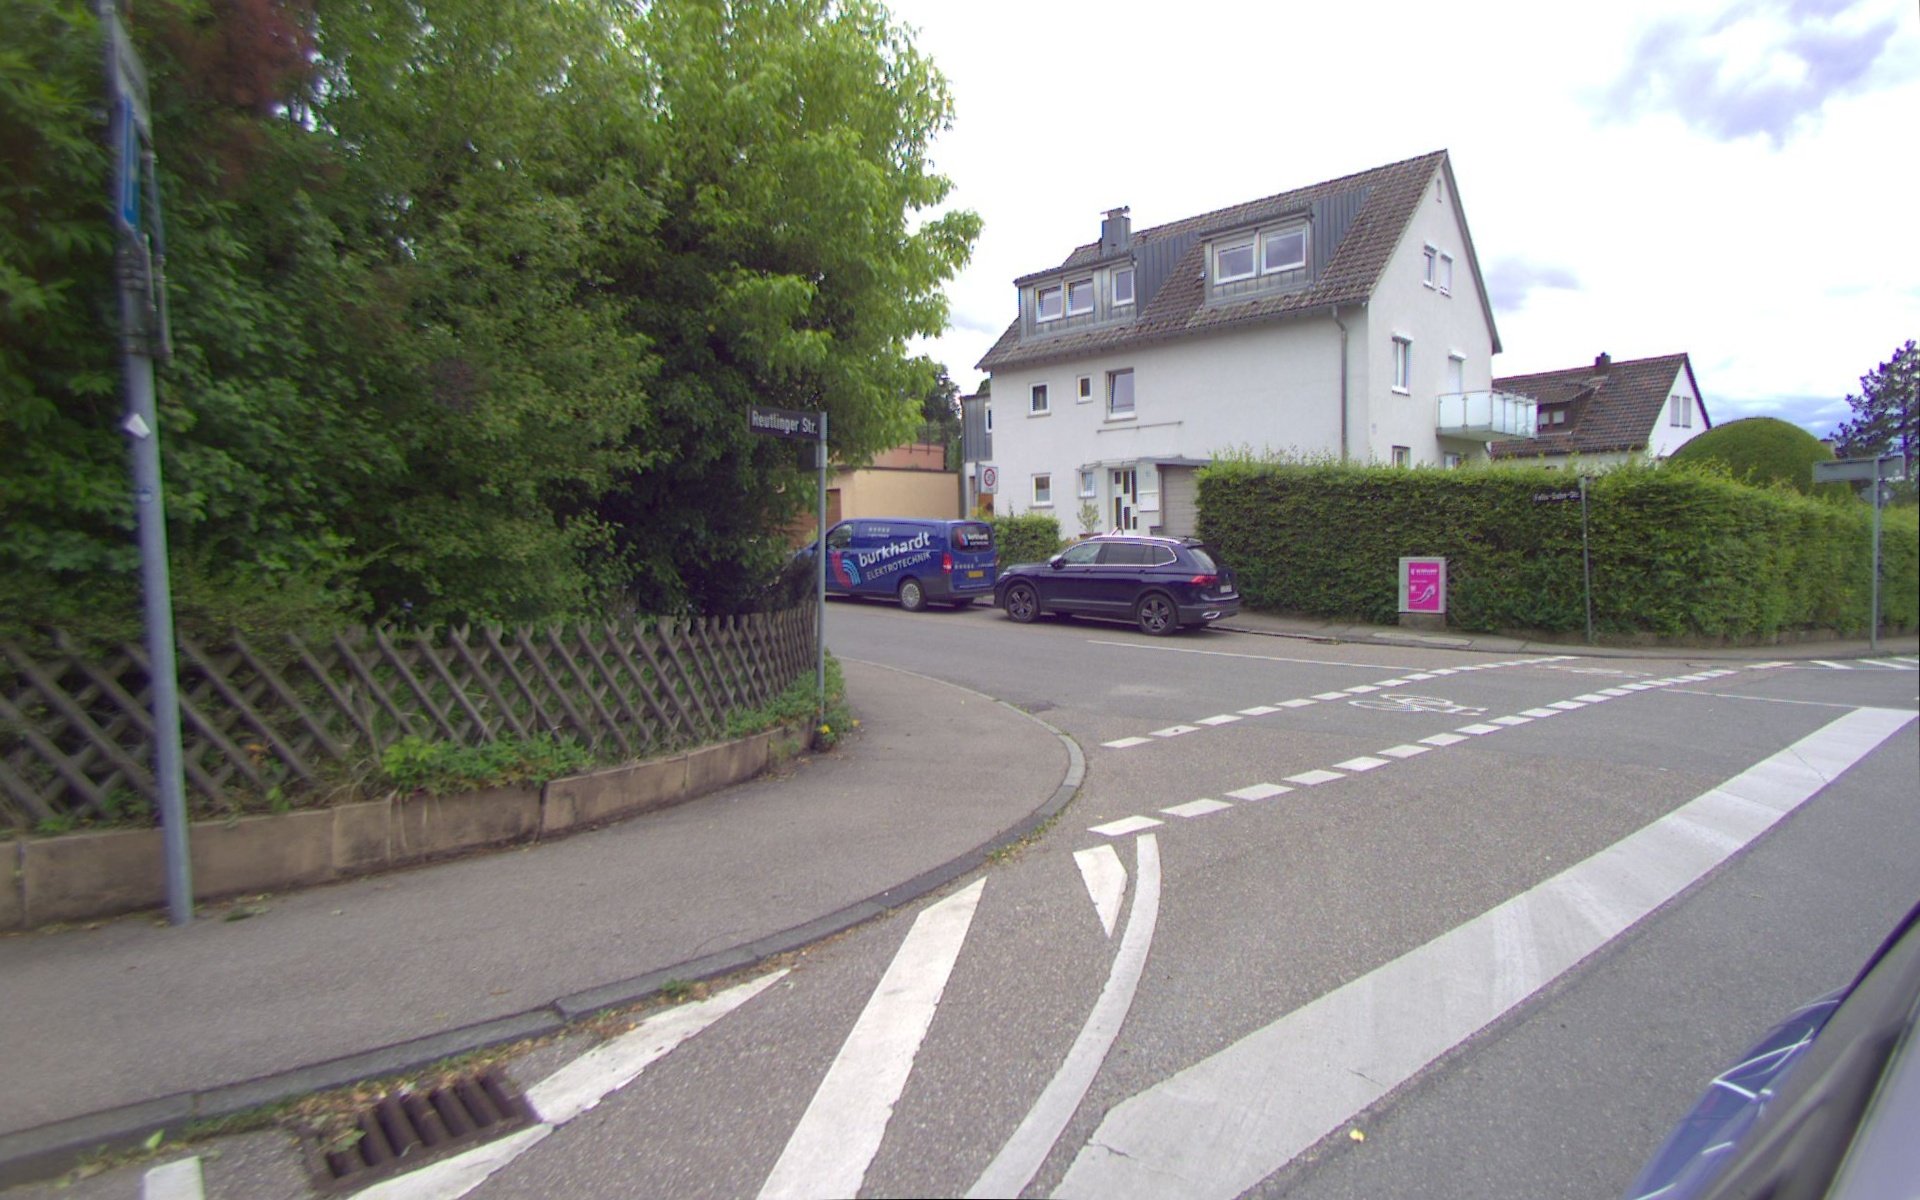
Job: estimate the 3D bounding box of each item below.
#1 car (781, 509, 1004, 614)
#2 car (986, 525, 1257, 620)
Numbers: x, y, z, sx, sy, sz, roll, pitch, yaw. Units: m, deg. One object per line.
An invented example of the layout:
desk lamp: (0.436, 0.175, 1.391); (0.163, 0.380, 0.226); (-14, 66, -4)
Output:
car: (-1.527, -0.938, 21.845); (4.705, 1.979, 1.865); (4, 7, 35)
car: (2.889, -0.552, 18.606); (4.493, 1.452, 1.974); (4, 3, 36)
